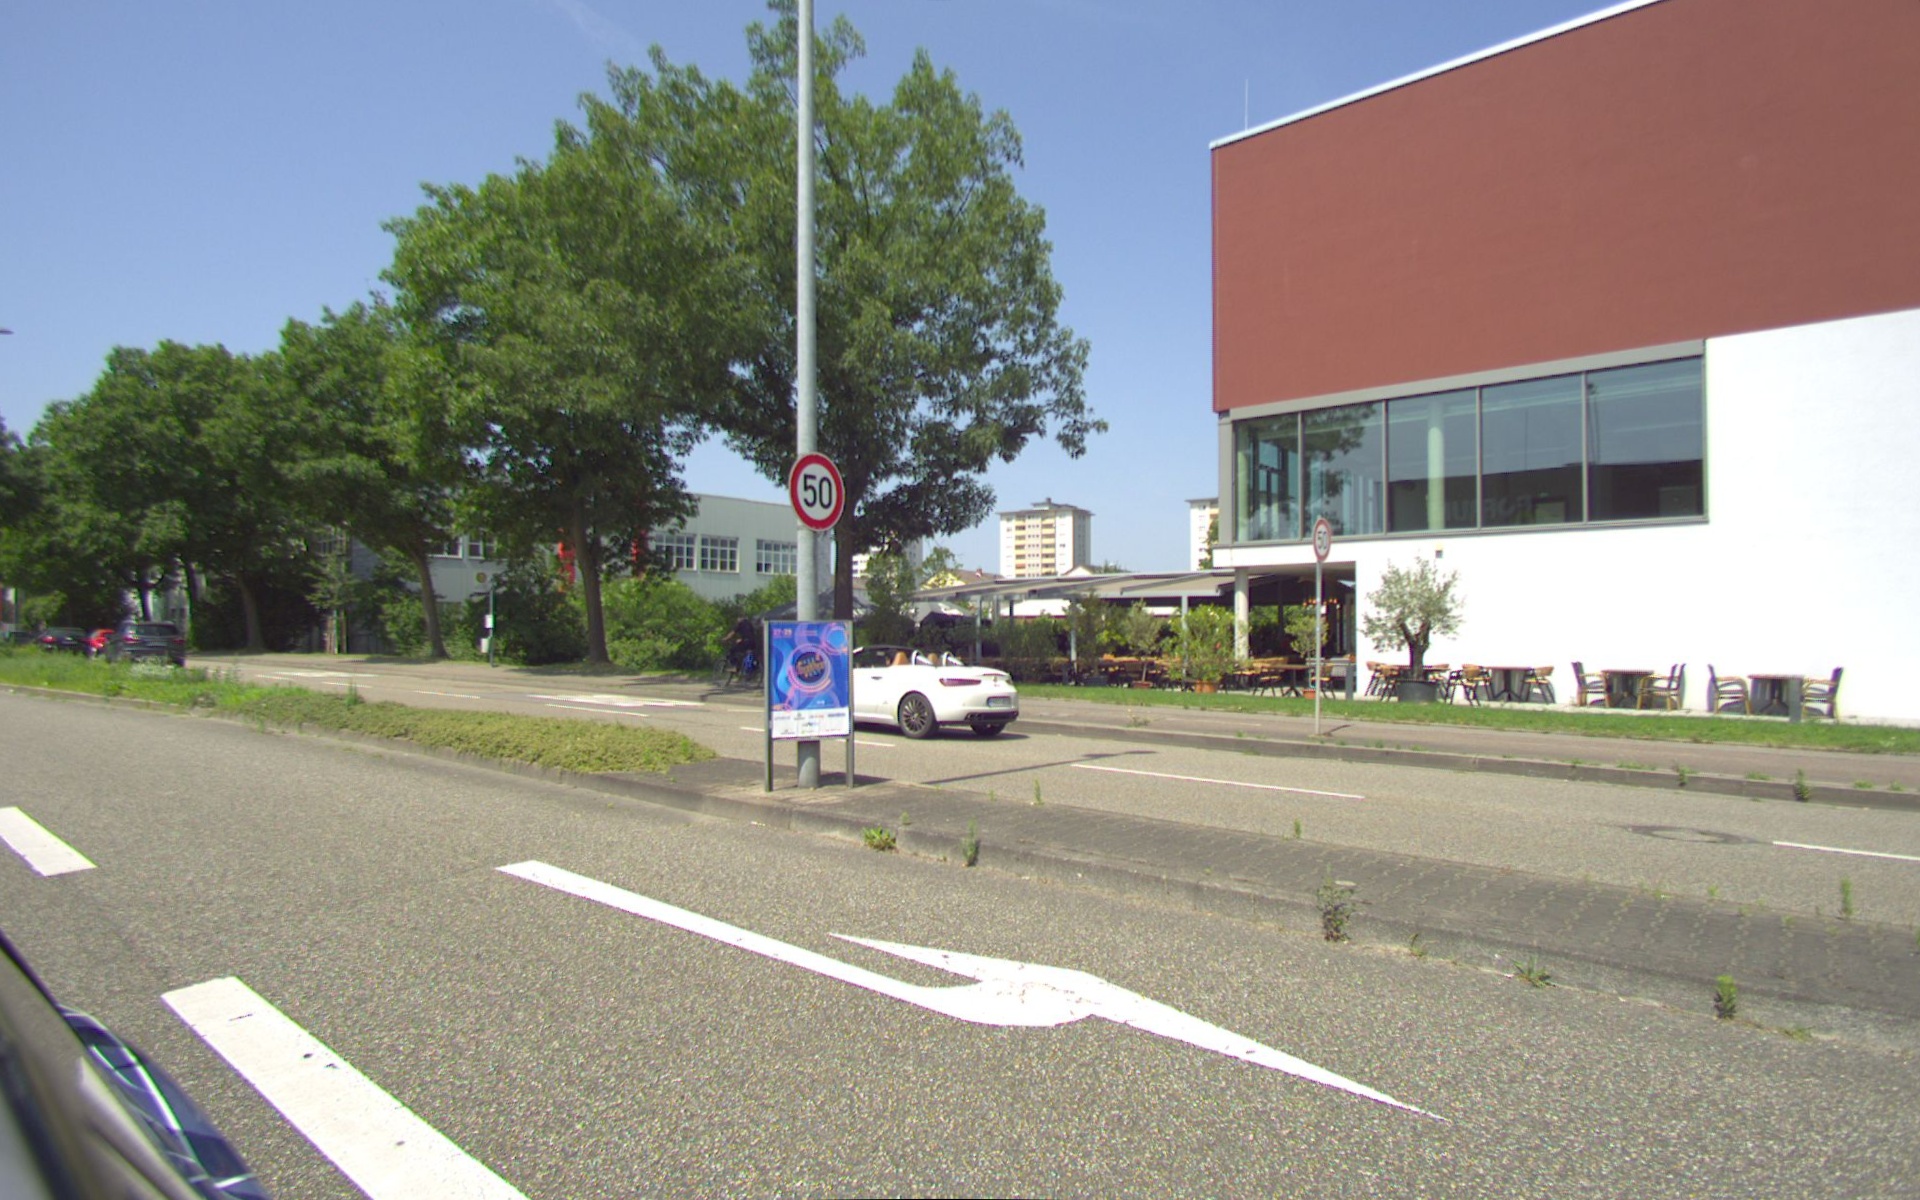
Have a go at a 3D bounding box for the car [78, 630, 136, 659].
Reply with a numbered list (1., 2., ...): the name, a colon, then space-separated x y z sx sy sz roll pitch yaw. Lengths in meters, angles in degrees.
1. car: -45.662 2.386 54.163 3.889 1.464 1.688 -2 -5 41

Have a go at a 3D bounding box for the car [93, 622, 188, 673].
1. car: -27.675 1.579 34.149 3.881 1.612 1.670 -1 -5 40

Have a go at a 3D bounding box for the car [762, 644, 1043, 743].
1. car: -0.981 1.357 15.511 4.298 1.272 1.700 -1 -4 40

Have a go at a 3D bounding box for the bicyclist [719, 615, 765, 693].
1. bicyclist: -5.100 1.248 23.679 0.927 1.783 0.643 -2 -2 41

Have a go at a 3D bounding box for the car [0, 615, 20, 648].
1. car: -58.340 1.882 60.864 4.904 1.960 1.973 -1 -4 40

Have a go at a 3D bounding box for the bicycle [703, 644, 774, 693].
1. bicycle: -5.217 1.587 23.756 1.883 1.059 0.648 -1 -2 41

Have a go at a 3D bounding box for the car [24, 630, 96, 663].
1. car: -38.726 1.984 43.520 3.996 1.349 1.662 -1 -5 39
